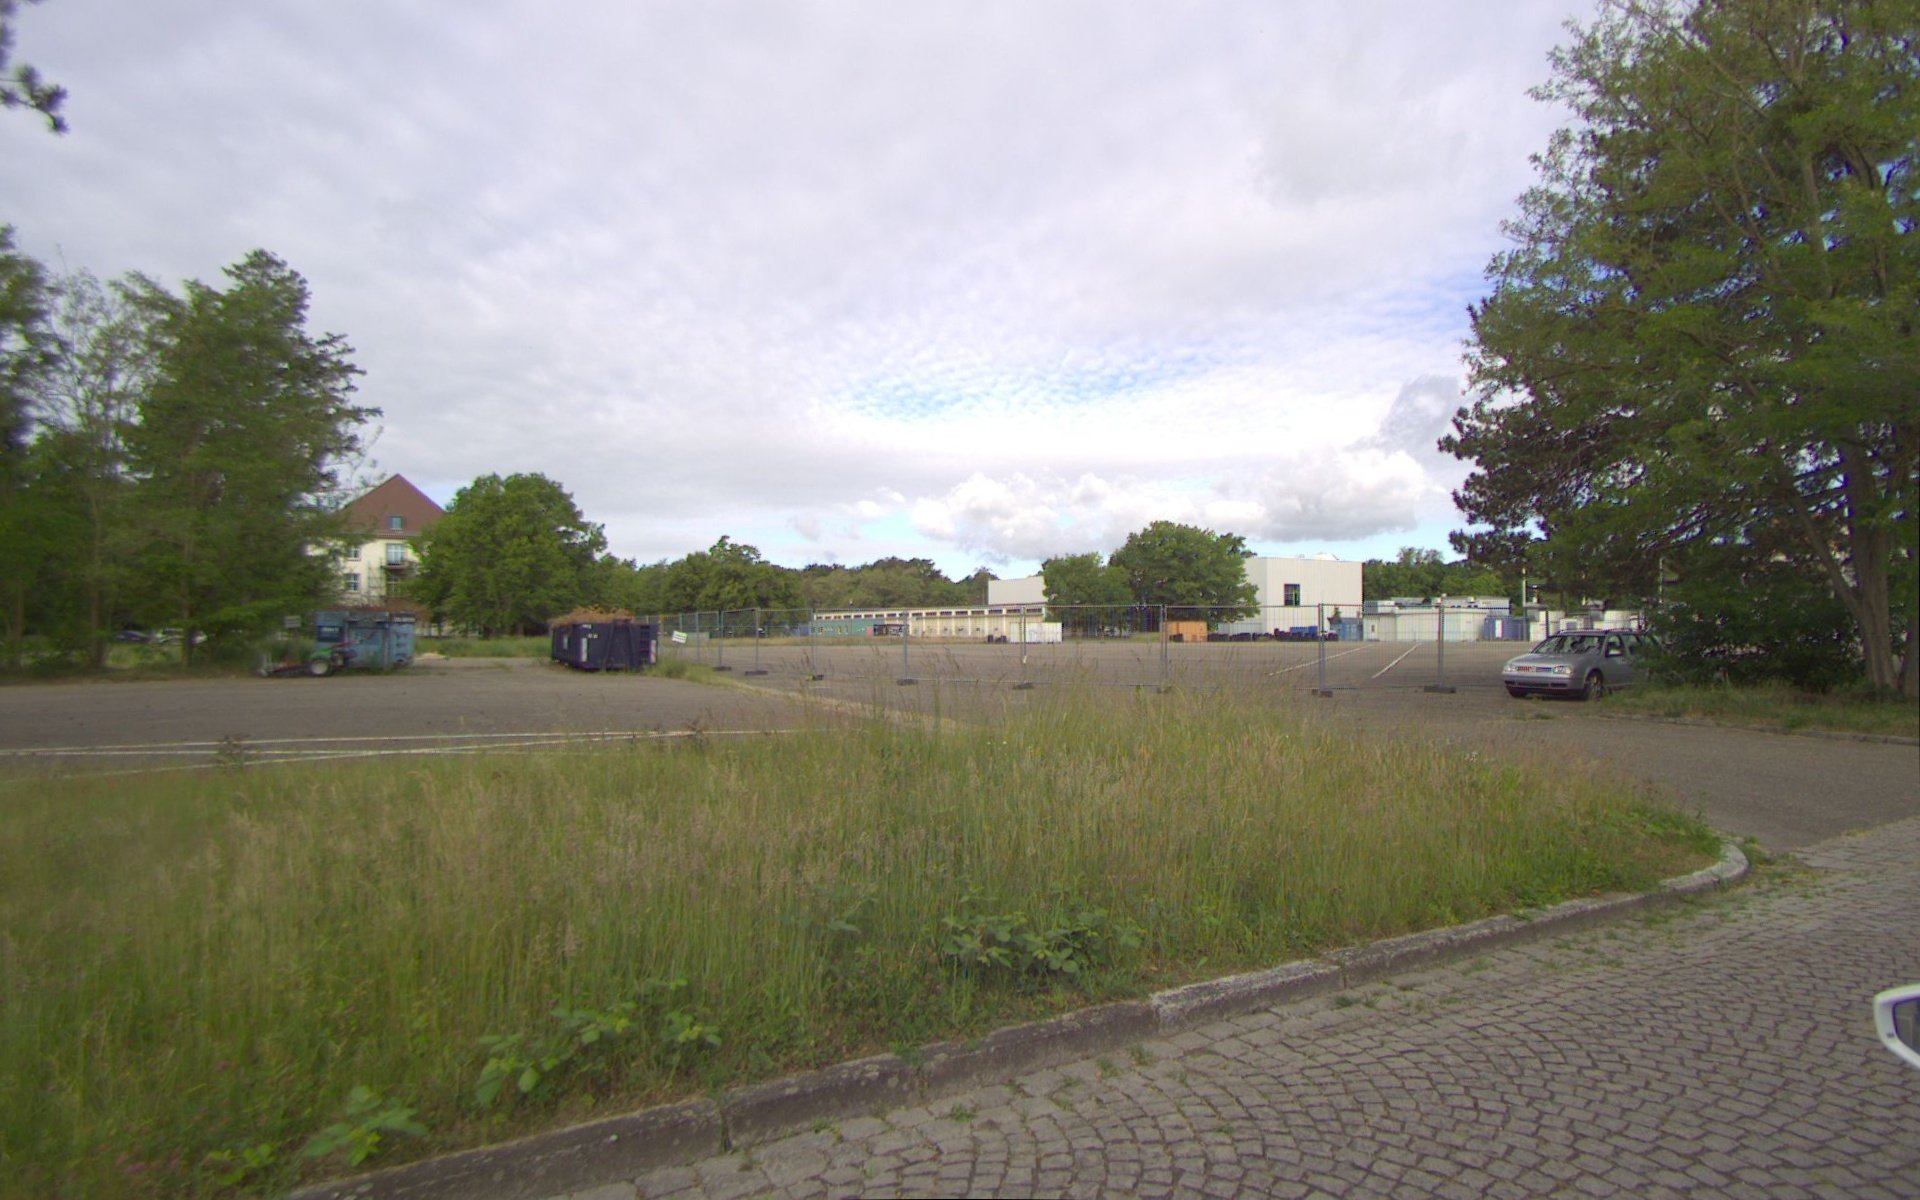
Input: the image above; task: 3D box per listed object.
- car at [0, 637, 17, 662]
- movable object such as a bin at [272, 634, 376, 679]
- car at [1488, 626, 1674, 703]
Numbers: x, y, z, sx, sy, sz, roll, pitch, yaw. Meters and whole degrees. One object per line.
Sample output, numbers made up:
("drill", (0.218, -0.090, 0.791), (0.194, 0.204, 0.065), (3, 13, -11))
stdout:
("car", (-63.213, 3.131, 64.066), (4.037, 1.553, 1.718), (1, -2, -22))
("movable object such as a bin", (-16.713, 1.478, 26.462), (2.242, 1.140, 0.852), (2, -2, -31))
("car", (13.532, 1.339, 21.844), (4.112, 1.451, 1.722), (-1, -1, -30))
